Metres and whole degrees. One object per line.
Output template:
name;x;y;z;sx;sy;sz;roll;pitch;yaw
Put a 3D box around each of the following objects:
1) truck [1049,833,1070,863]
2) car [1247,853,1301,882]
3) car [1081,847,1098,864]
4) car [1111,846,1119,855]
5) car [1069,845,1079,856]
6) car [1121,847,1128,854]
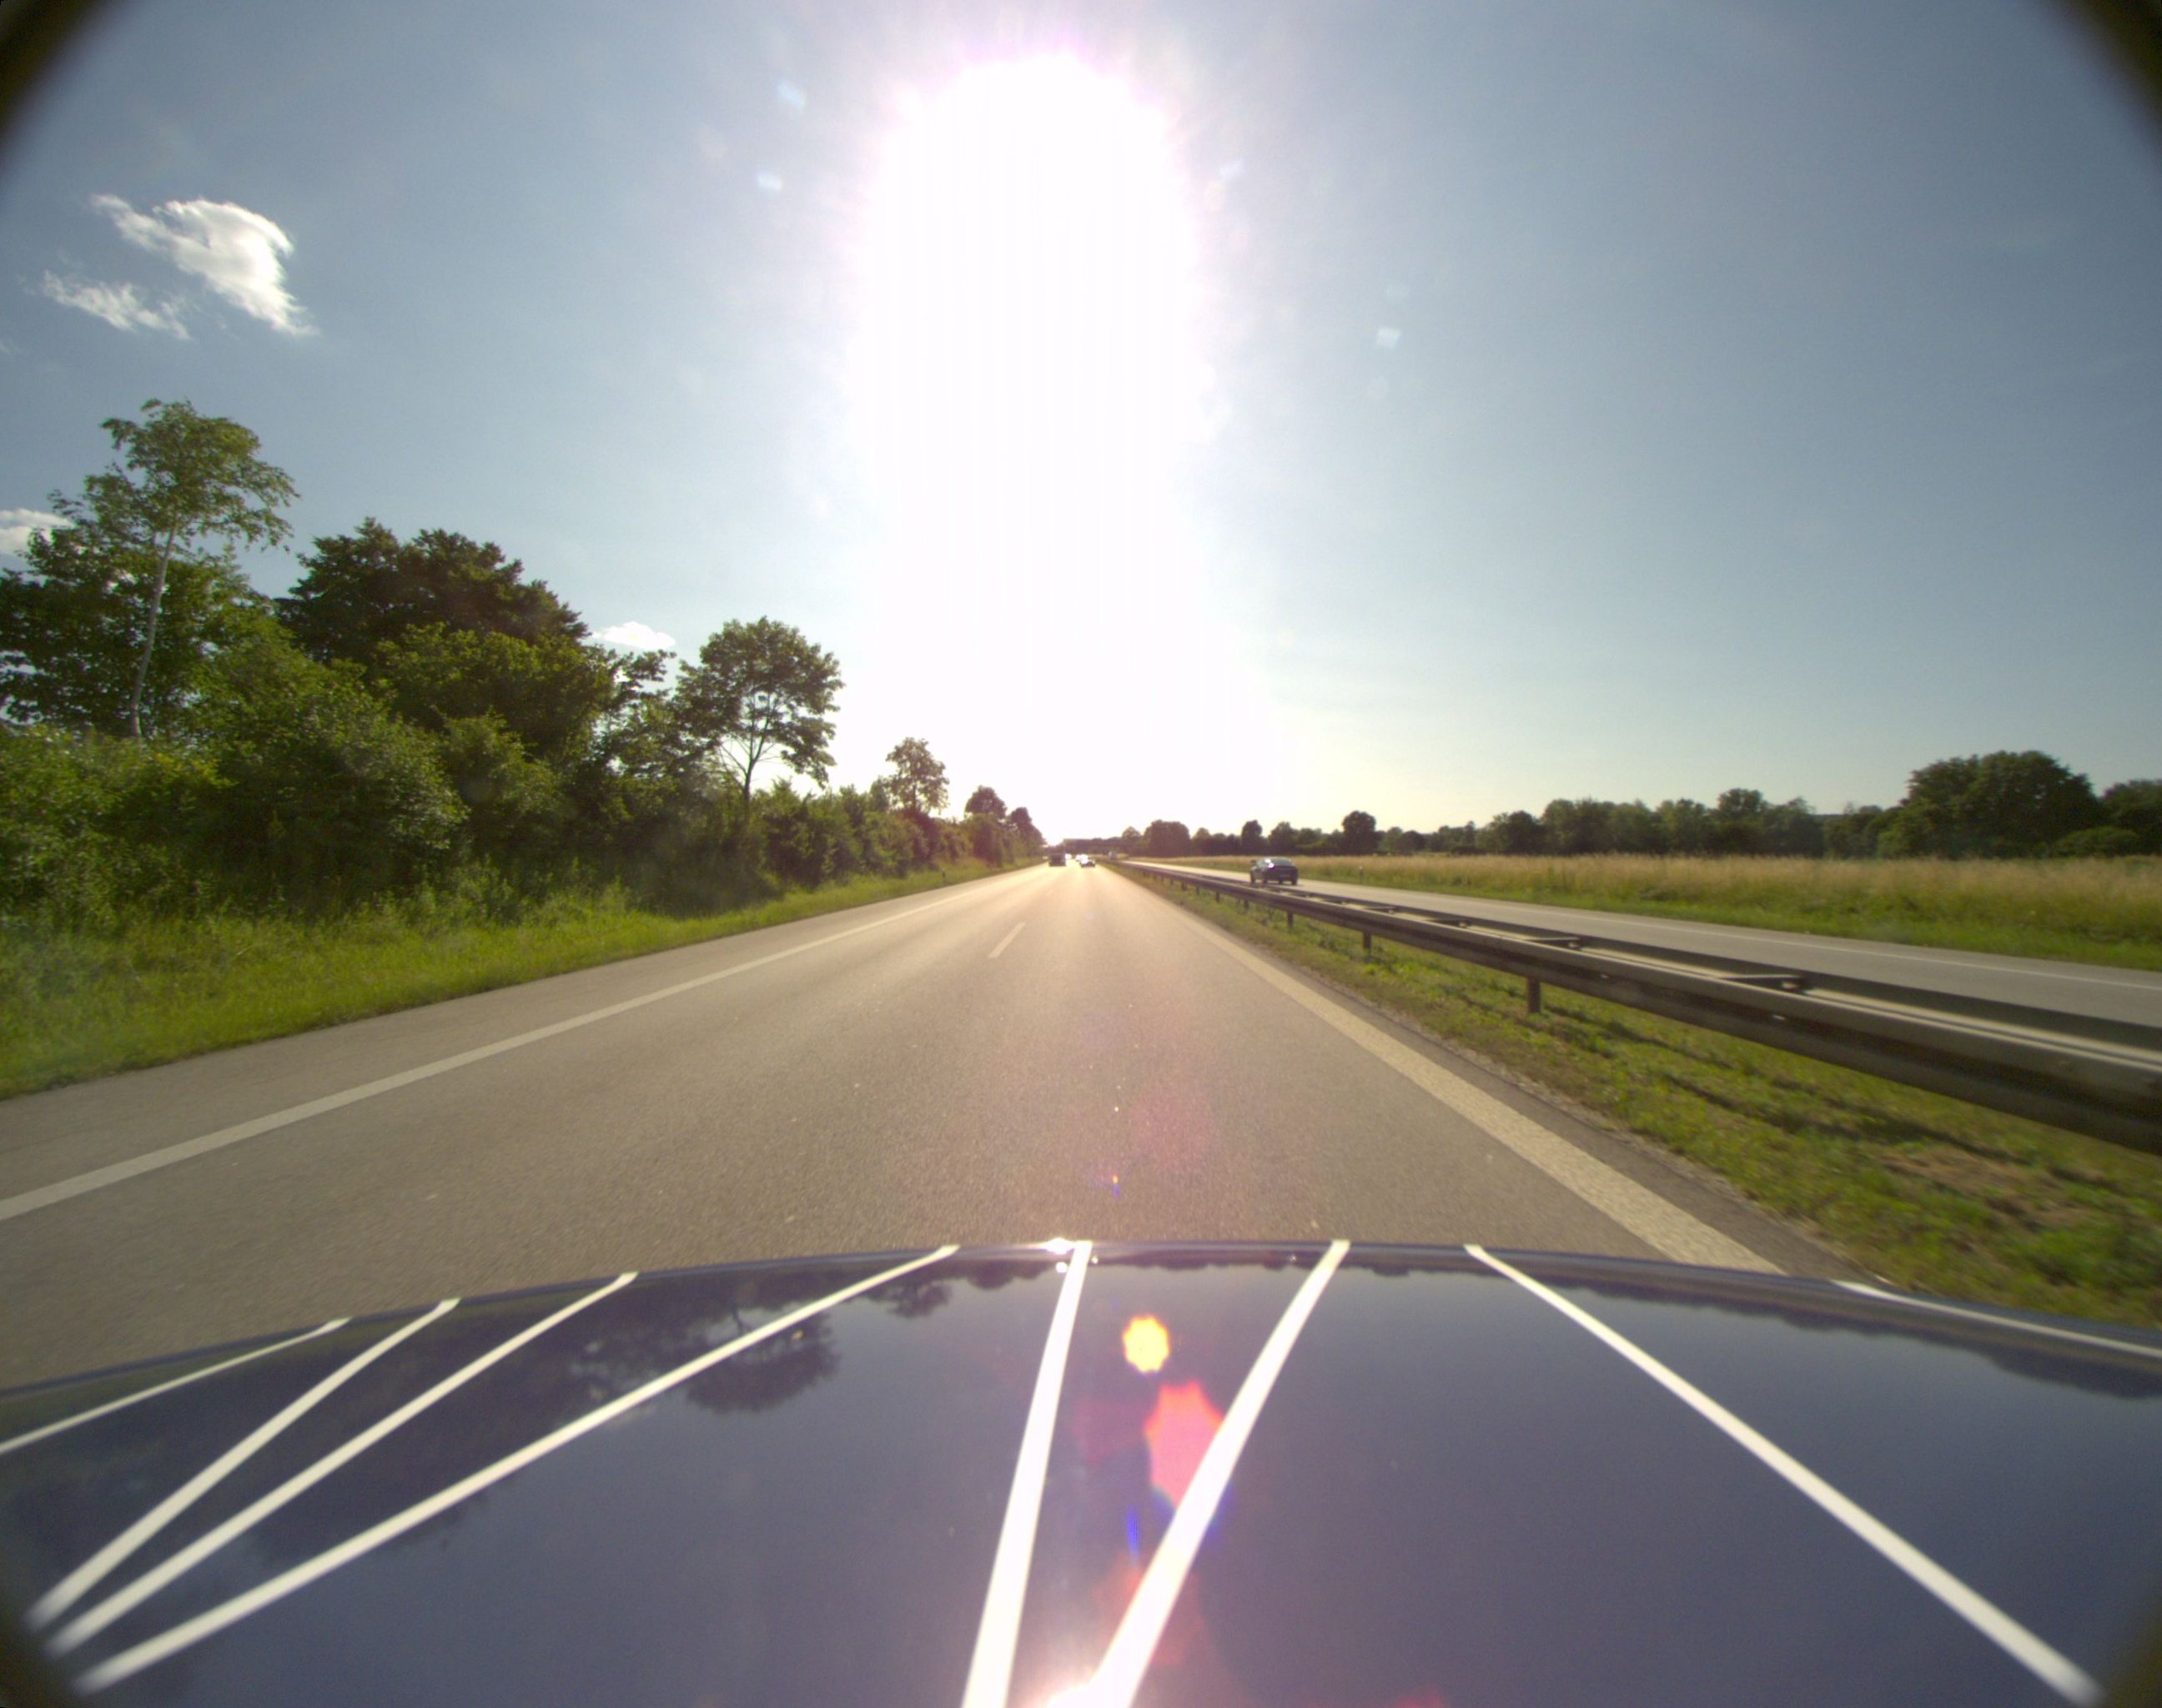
truck;-3.260;-0.918;116.074;2.759;4.242;8.492;-2;1;0
car;10.528;0.712;41.751;1.774;1.476;4.913;0;0;1
car;1.016;0.181;94.782;1.998;2.002;4.358;-2;1;1
car;10.338;-1.104;231.486;2.193;2.502;5.351;-2;1;0
car;-1.606;-0.861;176.432;2.193;2.502;5.351;-2;1;0
car;14.139;-1.092;246.408;1.998;2.002;3.999;-2;1;1
